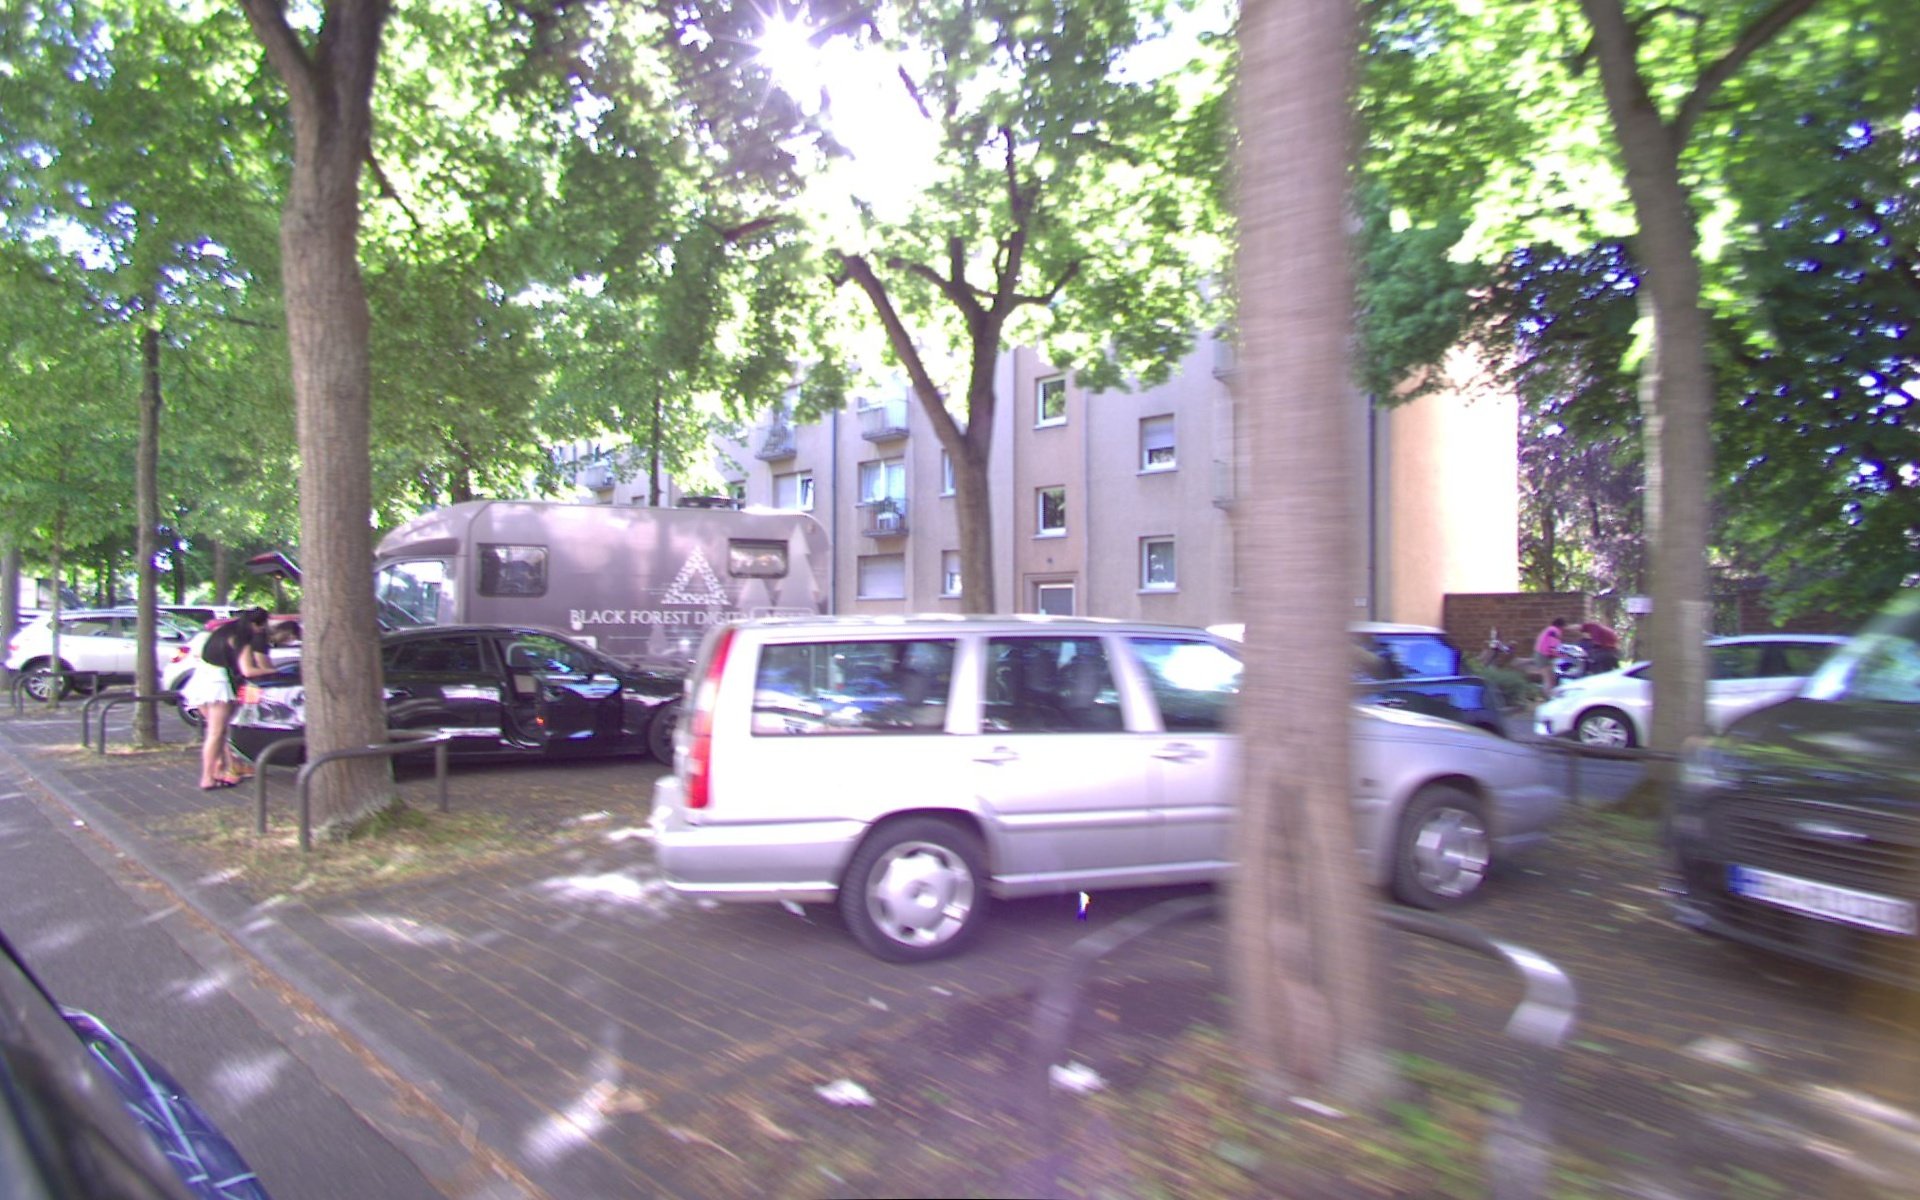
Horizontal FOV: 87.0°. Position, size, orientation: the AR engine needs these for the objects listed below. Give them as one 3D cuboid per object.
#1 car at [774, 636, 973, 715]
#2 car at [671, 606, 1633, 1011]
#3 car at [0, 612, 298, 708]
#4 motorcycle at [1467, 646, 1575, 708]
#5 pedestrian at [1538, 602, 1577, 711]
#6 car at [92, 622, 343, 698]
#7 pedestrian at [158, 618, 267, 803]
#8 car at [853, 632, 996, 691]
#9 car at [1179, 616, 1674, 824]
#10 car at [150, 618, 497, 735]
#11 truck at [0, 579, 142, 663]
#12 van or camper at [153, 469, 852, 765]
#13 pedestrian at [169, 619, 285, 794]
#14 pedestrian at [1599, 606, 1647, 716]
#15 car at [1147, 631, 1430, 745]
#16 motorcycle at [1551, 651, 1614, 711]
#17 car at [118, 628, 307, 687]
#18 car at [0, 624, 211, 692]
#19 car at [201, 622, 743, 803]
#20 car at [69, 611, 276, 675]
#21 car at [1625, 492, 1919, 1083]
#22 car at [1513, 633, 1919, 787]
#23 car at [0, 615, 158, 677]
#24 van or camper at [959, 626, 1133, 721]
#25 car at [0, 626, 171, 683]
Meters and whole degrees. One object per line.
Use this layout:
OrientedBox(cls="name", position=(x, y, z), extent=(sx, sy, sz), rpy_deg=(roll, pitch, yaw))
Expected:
OrientedBox(cls="car", position=(-1.904, 1.522, 21.495), extent=(4.307, 1.519, 1.745), rpy_deg=(-2, -3, 42))
OrientedBox(cls="car", position=(0.846, 0.783, 5.091), extent=(4.413, 1.454, 1.737), rpy_deg=(0, -2, -16))
OrientedBox(cls="car", position=(-15.219, 1.088, 19.247), extent=(4.075, 1.692, 1.765), rpy_deg=(0, -2, -20))
OrientedBox(cls="motorcycle", position=(10.908, 1.475, 19.734), extent=(1.780, 1.153, 0.406), rpy_deg=(-2, -3, 40))
OrientedBox(cls="pedestrian", position=(10.293, 0.963, 17.433), extent=(0.462, 1.841, 0.494), rpy_deg=(-2, -3, 41))
OrientedBox(cls="car", position=(-15.825, 1.233, 21.818), extent=(3.974, 1.413, 1.829), rpy_deg=(-1, 0, -16))
OrientedBox(cls="pedestrian", position=(-6.181, 0.888, 8.395), extent=(0.606, 1.467, 0.521), rpy_deg=(1, -2, -25))
OrientedBox(cls="car", position=(-0.965, 1.543, 26.150), extent=(3.610, 1.397, 1.607), rpy_deg=(-2, -3, 42))
OrientedBox(cls="car", position=(3.802, 0.861, 8.375), extent=(3.512, 1.435, 1.680), rpy_deg=(0, -2, -19))
OrientedBox(cls="car", position=(-8.936, 1.045, 14.617), extent=(3.931, 1.519, 1.763), rpy_deg=(1, -2, -20))
OrientedBox(cls="truck", position=(-38.397, 0.886, 41.378), extent=(7.200, 3.319, 2.554), rpy_deg=(1, -2, -17))
OrientedBox(cls="van or camper", position=(-5.108, 0.249, 12.466), extent=(7.123, 2.952, 2.321), rpy_deg=(1, -2, -21))
OrientedBox(cls="pedestrian", position=(-6.454, 0.907, 8.942), extent=(0.699, 1.467, 0.598), rpy_deg=(1, -2, -25))
OrientedBox(cls="pedestrian", position=(10.794, 0.984, 16.480), extent=(0.559, 1.740, 0.494), rpy_deg=(-2, -3, 41))
OrientedBox(cls="car", position=(4.906, 1.233, 15.398), extent=(3.768, 1.511, 1.646), rpy_deg=(-2, -2, 42))
OrientedBox(cls="motorcycle", position=(10.286, 1.313, 16.695), extent=(0.536, 0.927, 1.756), rpy_deg=(-2, -3, 43))
OrientedBox(cls="car", position=(-19.654, 1.481, 26.766), extent=(3.573, 1.466, 1.822), rpy_deg=(0, -2, -11))
OrientedBox(cls="car", position=(-20.247, 1.302, 23.410), extent=(4.348, 1.473, 1.721), rpy_deg=(0, -1, -16))
OrientedBox(cls="car", position=(-4.353, 0.934, 9.614), extent=(4.254, 1.435, 1.680), rpy_deg=(0, -2, -22))
OrientedBox(cls="car", position=(-23.844, 1.302, 30.877), extent=(4.526, 1.846, 2.025), rpy_deg=(1, -2, -19))
OrientedBox(cls="car", position=(5.018, 0.576, 3.762), extent=(4.482, 1.777, 1.816), rpy_deg=(0, -2, -18))
OrientedBox(cls="car", position=(8.757, 1.151, 11.812), extent=(3.768, 1.511, 1.646), rpy_deg=(-2, -2, 42))
OrientedBox(cls="car", position=(-28.776, 1.429, 32.405), extent=(4.445, 1.879, 2.088), rpy_deg=(0, -1, -23))
OrientedBox(cls="van or camper", position=(1.512, 1.263, 18.121), extent=(2.696, 1.567, 1.579), rpy_deg=(-2, -3, 42))
OrientedBox(cls="car", position=(-24.483, 1.455, 27.535), extent=(4.413, 1.466, 1.793), rpy_deg=(0, -2, -17))
